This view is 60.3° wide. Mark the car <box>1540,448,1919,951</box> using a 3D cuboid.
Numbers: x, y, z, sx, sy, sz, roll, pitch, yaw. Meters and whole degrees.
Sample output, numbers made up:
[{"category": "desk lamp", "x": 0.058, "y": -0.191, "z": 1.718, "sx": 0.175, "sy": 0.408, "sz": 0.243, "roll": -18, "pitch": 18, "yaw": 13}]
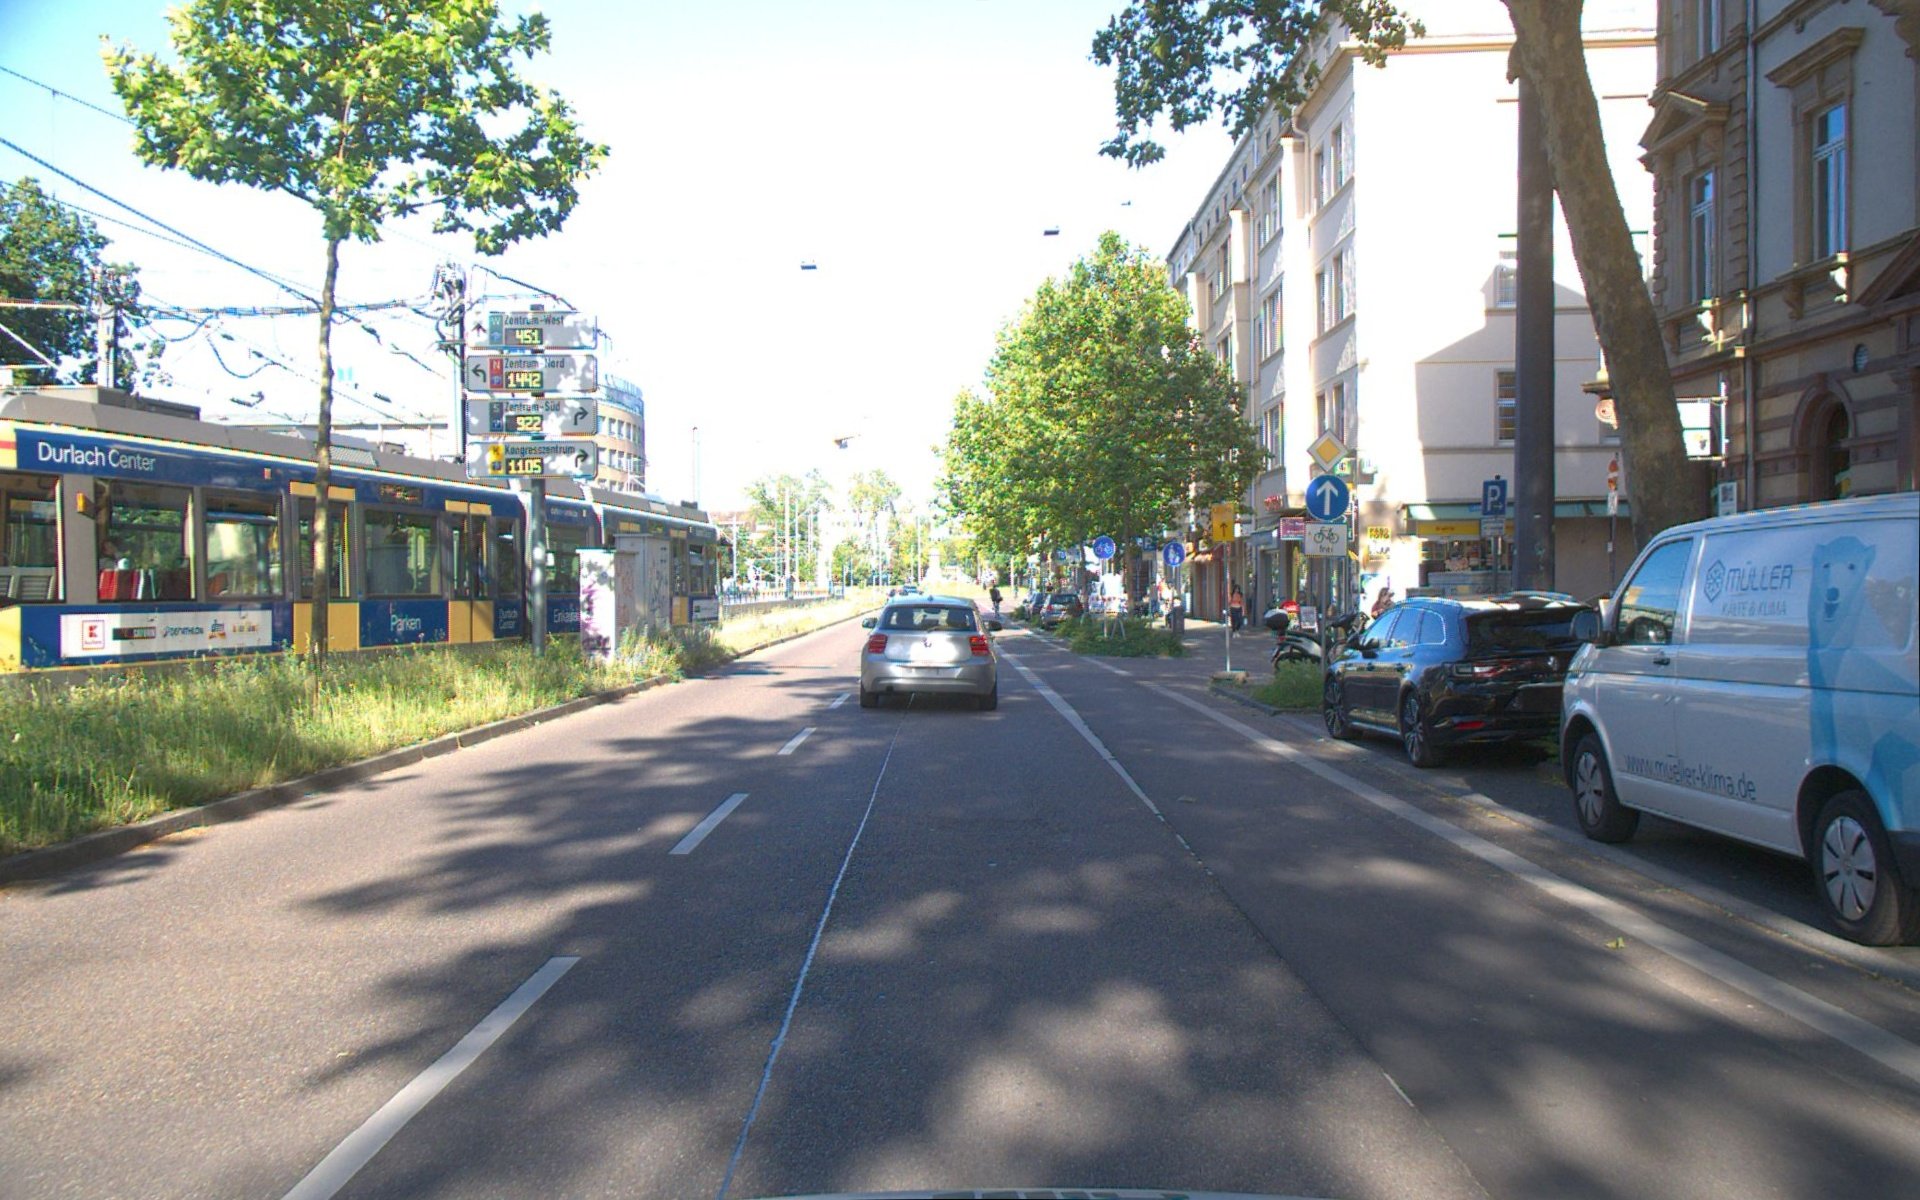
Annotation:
[{"category": "car", "x": 4.815, "y": 0.419, "z": 8.676, "sx": 1.818, "sy": 2.049, "sz": 4.723, "roll": 1, "pitch": 0, "yaw": -1}]

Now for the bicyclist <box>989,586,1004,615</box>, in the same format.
[{"category": "bicyclist", "x": 1.989, "y": 0.047, "z": 90.300, "sx": 0.769, "sy": 1.558, "sz": 0.895, "roll": 1, "pitch": 0, "yaw": -1}]

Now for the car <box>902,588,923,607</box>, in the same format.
[{"category": "car", "x": -3.749, "y": -0.216, "z": 131.196, "sx": 1.611, "sy": 1.446, "sz": 4.000, "roll": 1, "pitch": 0, "yaw": 0}]

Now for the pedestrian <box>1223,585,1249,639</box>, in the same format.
[{"category": "pedestrian", "x": 8.464, "y": 0.354, "z": 50.720, "sx": 0.668, "sy": 1.650, "sz": 0.562, "roll": 0, "pitch": 0, "yaw": -3}]

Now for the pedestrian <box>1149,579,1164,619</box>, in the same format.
[{"category": "pedestrian", "x": 8.617, "y": -0.060, "z": 72.648, "sx": 0.546, "sy": 1.741, "sz": 0.770, "roll": 0, "pitch": 0, "yaw": -1}]

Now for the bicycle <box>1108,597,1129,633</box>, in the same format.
[{"category": "bicycle", "x": 5.651, "y": 0.541, "z": 59.031, "sx": 0.384, "sy": 1.236, "sz": 1.901, "roll": -1, "pitch": -1, "yaw": -4}]

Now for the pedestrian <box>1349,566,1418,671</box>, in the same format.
[{"category": "pedestrian", "x": 8.471, "y": 0.370, "z": 33.124, "sx": 1.066, "sy": 2.049, "sz": 1.046, "roll": 1, "pitch": 0, "yaw": 0}]

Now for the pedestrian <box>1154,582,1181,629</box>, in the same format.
[{"category": "pedestrian", "x": 7.663, "y": 0.194, "z": 61.081, "sx": 0.842, "sy": 1.734, "sz": 0.916, "roll": 0, "pitch": 0, "yaw": -3}]

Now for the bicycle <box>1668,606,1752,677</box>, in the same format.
[{"category": "bicycle", "x": 11.277, "y": 0.610, "z": 24.921, "sx": 0.406, "sy": 1.015, "sz": 1.882, "roll": 0, "pitch": 0, "yaw": -1}]

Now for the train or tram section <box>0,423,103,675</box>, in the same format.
[{"category": "train or tram section", "x": -14.771, "y": -0.709, "z": 20.503, "sx": 2.902, "sy": 3.544, "sz": 11.280, "roll": 1, "pitch": 0, "yaw": -3}]

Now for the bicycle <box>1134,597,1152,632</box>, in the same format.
[{"category": "bicycle", "x": 6.607, "y": 0.523, "z": 59.679, "sx": 0.377, "sy": 1.228, "sz": 1.875, "roll": 0, "pitch": 0, "yaw": 14}]

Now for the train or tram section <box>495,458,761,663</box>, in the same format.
[{"category": "train or tram section", "x": -7.179, "y": -0.782, "z": 37.886, "sx": 2.890, "sy": 3.965, "sz": 10.809, "roll": 1, "pitch": 0, "yaw": 5}]

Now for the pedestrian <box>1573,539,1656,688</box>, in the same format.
[{"category": "pedestrian", "x": 8.401, "y": 0.172, "z": 21.253, "sx": 0.630, "sy": 1.859, "sz": 0.894, "roll": 1, "pitch": 0, "yaw": -4}]

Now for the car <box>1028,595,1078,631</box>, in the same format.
[{"category": "car", "x": 4.196, "y": 0.552, "z": 75.084, "sx": 1.997, "sy": 1.535, "sz": 4.593, "roll": 0, "pitch": 0, "yaw": -1}]

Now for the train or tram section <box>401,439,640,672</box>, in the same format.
[{"category": "train or tram section", "x": -7.987, "y": -0.786, "z": 30.523, "sx": 2.892, "sy": 3.965, "sz": 3.869, "roll": 1, "pitch": 0, "yaw": 8}]

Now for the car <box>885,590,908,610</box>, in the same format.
[{"category": "car", "x": -4.745, "y": -0.015, "z": 123.010, "sx": 1.692, "sy": 1.496, "sz": 4.408, "roll": 0, "pitch": 0, "yaw": -3}]

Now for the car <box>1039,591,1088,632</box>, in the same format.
[{"category": "car", "x": 4.208, "y": 0.452, "z": 67.493, "sx": 1.660, "sy": 1.528, "sz": 3.801, "roll": -3, "pitch": 1, "yaw": -1}]

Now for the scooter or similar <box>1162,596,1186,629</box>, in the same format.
[{"category": "scooter or similar", "x": 7.761, "y": 0.453, "z": 60.038, "sx": 0.729, "sy": 1.192, "sz": 0.848, "roll": 0, "pitch": 0, "yaw": -4}]

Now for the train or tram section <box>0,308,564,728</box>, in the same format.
[{"category": "train or tram section", "x": -9.352, "y": -0.777, "z": 21.515, "sx": 2.866, "sy": 3.878, "sz": 14.285, "roll": 1, "pitch": 0, "yaw": 9}]

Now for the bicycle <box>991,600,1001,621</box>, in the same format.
[{"category": "bicycle", "x": 1.967, "y": 0.554, "z": 90.276, "sx": 0.489, "sy": 1.107, "sz": 1.997, "roll": 1, "pitch": 0, "yaw": 0}]

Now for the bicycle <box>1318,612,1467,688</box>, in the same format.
[{"category": "bicycle", "x": 6.716, "y": 0.774, "z": 25.695, "sx": 2.176, "sy": 1.112, "sz": 0.456, "roll": 1, "pitch": 0, "yaw": 0}]

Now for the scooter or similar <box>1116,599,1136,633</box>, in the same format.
[{"category": "scooter or similar", "x": 6.110, "y": 0.575, "z": 60.941, "sx": 0.371, "sy": 1.217, "sz": 1.575, "roll": -1, "pitch": 0, "yaw": 19}]

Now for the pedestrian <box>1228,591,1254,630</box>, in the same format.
[{"category": "pedestrian", "x": 10.162, "y": 0.376, "z": 59.876, "sx": 0.769, "sy": 1.393, "sz": 0.857, "roll": -1, "pitch": 0, "yaw": 0}]

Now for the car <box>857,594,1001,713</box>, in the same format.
[{"category": "car", "x": -0.411, "y": 0.642, "z": 22.218, "sx": 1.761, "sy": 1.439, "sz": 3.999, "roll": 0, "pitch": 0, "yaw": -1}]

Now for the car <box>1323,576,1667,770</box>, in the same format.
[{"category": "car", "x": 4.811, "y": 0.579, "z": 15.634, "sx": 1.781, "sy": 1.541, "sz": 4.708, "roll": -1, "pitch": 0, "yaw": 1}]

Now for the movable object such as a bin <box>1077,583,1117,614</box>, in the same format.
[{"category": "movable object such as a bin", "x": 8.621, "y": -0.116, "z": 104.511, "sx": 1.908, "sy": 1.875, "sz": 3.476, "roll": -1, "pitch": 1, "yaw": -6}]

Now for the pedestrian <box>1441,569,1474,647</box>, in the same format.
[{"category": "pedestrian", "x": 12.407, "y": 0.194, "z": 41.258, "sx": 0.541, "sy": 1.937, "sz": 0.586, "roll": 1, "pitch": 0, "yaw": -12}]

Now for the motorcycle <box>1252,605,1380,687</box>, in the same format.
[{"category": "motorcycle", "x": 5.687, "y": 0.735, "z": 26.480, "sx": 1.910, "sy": 1.252, "sz": 0.515, "roll": 1, "pitch": 0, "yaw": -4}]
